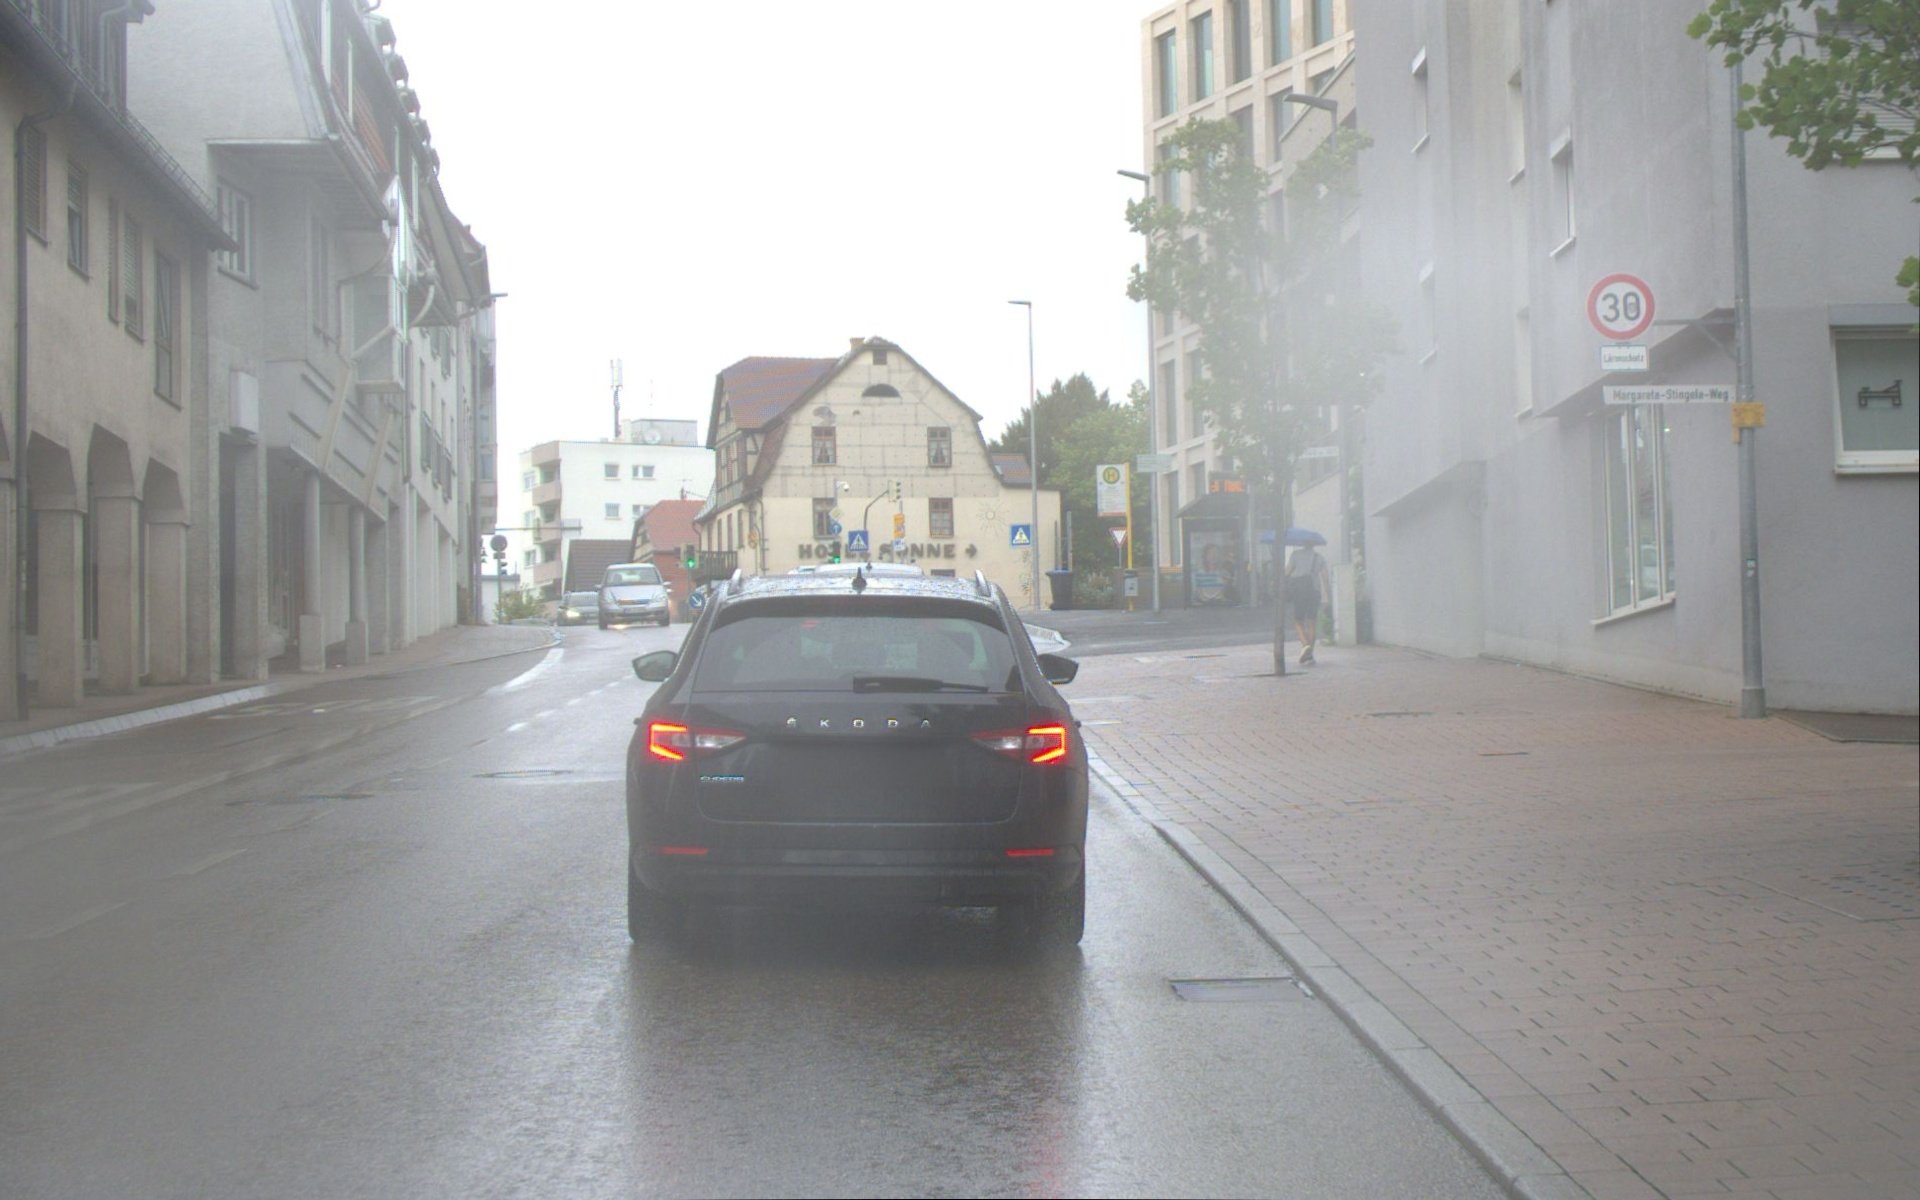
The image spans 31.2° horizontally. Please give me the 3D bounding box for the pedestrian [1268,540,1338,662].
[{"bbox_3d":[4.507,0.011,45.252,0.736,1.537,1.038,-4,0,1],"label":"pedestrian"}]

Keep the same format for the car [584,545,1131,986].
[{"bbox_3d":[-0.369,0.578,14.564,1.944,1.561,4.417,-1,0,0],"label":"car"}]

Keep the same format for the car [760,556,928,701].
[{"bbox_3d":[-1.329,0.288,38.092,1.677,1.505,3.589,-1,0,-4],"label":"car"}]

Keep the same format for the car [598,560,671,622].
[{"bbox_3d":[-8.228,-0.242,87.023,1.677,1.505,3.589,-1,0,-3],"label":"car"}]

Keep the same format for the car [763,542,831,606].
[{"bbox_3d":[-5.197,-0.843,110.076,1.993,2.007,4.000,-1,1,0],"label":"car"}]

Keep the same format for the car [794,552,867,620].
[{"bbox_3d":[-3.135,-0.340,83.225,1.680,1.555,4.000,-2,0,-2],"label":"car"}]

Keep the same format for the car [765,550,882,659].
[{"bbox_3d":[-2.093,0.054,52.842,1.680,1.555,4.000,-2,0,-2],"label":"car"}]

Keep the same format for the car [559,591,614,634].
[{"bbox_3d":[-12.924,0.424,118.840,1.676,1.405,3.589,-1,0,-9],"label":"car"}]

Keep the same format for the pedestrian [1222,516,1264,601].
[{"bbox_3d":[6.625,-0.964,80.494,0.782,1.933,1.021,-3,0,-2],"label":"pedestrian"}]

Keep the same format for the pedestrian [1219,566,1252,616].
[{"bbox_3d":[6.566,-0.219,81.914,0.672,1.158,0.635,-3,0,-2],"label":"pedestrian"}]
